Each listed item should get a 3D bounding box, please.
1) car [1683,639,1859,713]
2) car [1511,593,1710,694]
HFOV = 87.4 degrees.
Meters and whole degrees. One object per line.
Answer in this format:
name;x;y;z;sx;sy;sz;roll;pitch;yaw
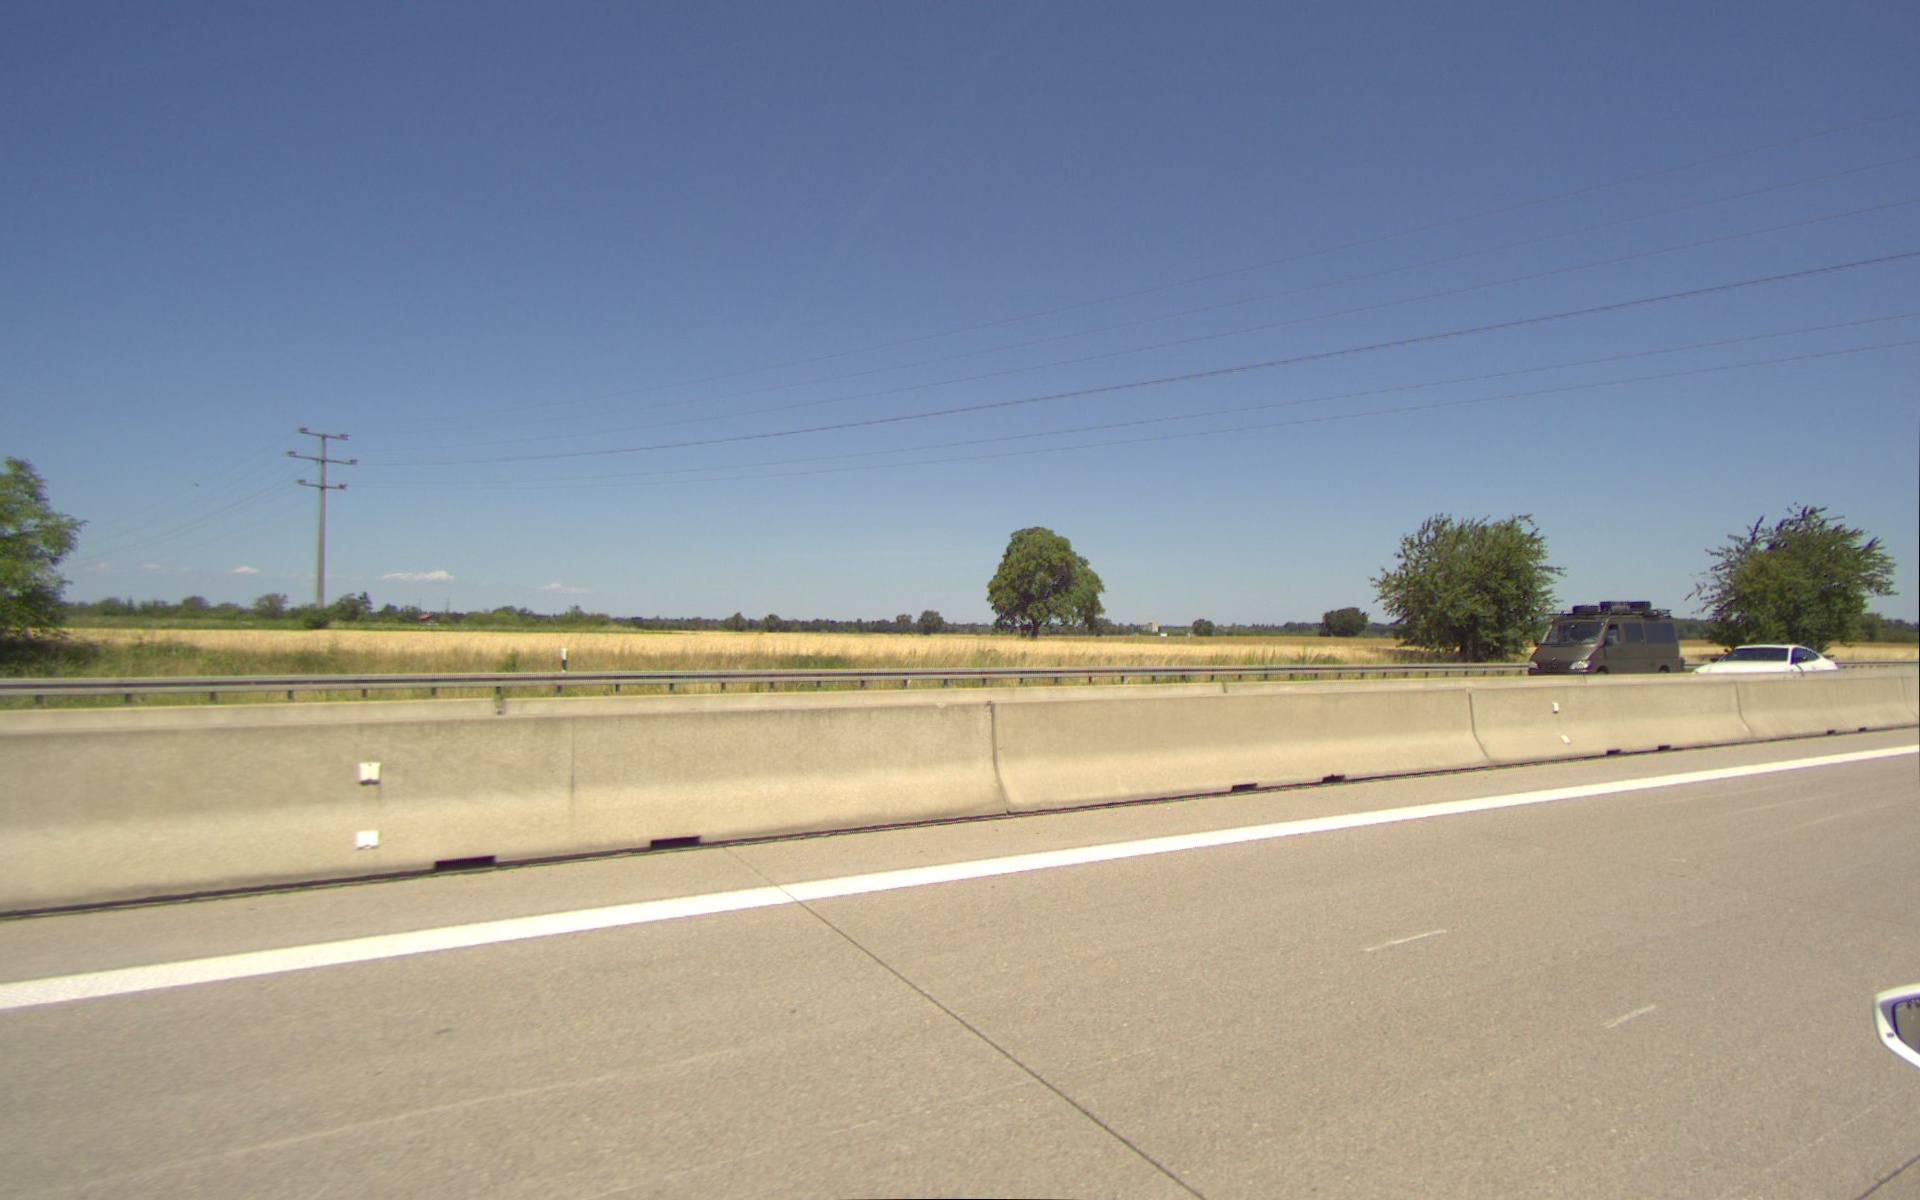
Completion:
car;20.841;1.883;25.757;5.049;1.674;1.863;2;0;-31
car;19.949;1.297;30.710;6.710;2.823;2.237;2;0;-30
